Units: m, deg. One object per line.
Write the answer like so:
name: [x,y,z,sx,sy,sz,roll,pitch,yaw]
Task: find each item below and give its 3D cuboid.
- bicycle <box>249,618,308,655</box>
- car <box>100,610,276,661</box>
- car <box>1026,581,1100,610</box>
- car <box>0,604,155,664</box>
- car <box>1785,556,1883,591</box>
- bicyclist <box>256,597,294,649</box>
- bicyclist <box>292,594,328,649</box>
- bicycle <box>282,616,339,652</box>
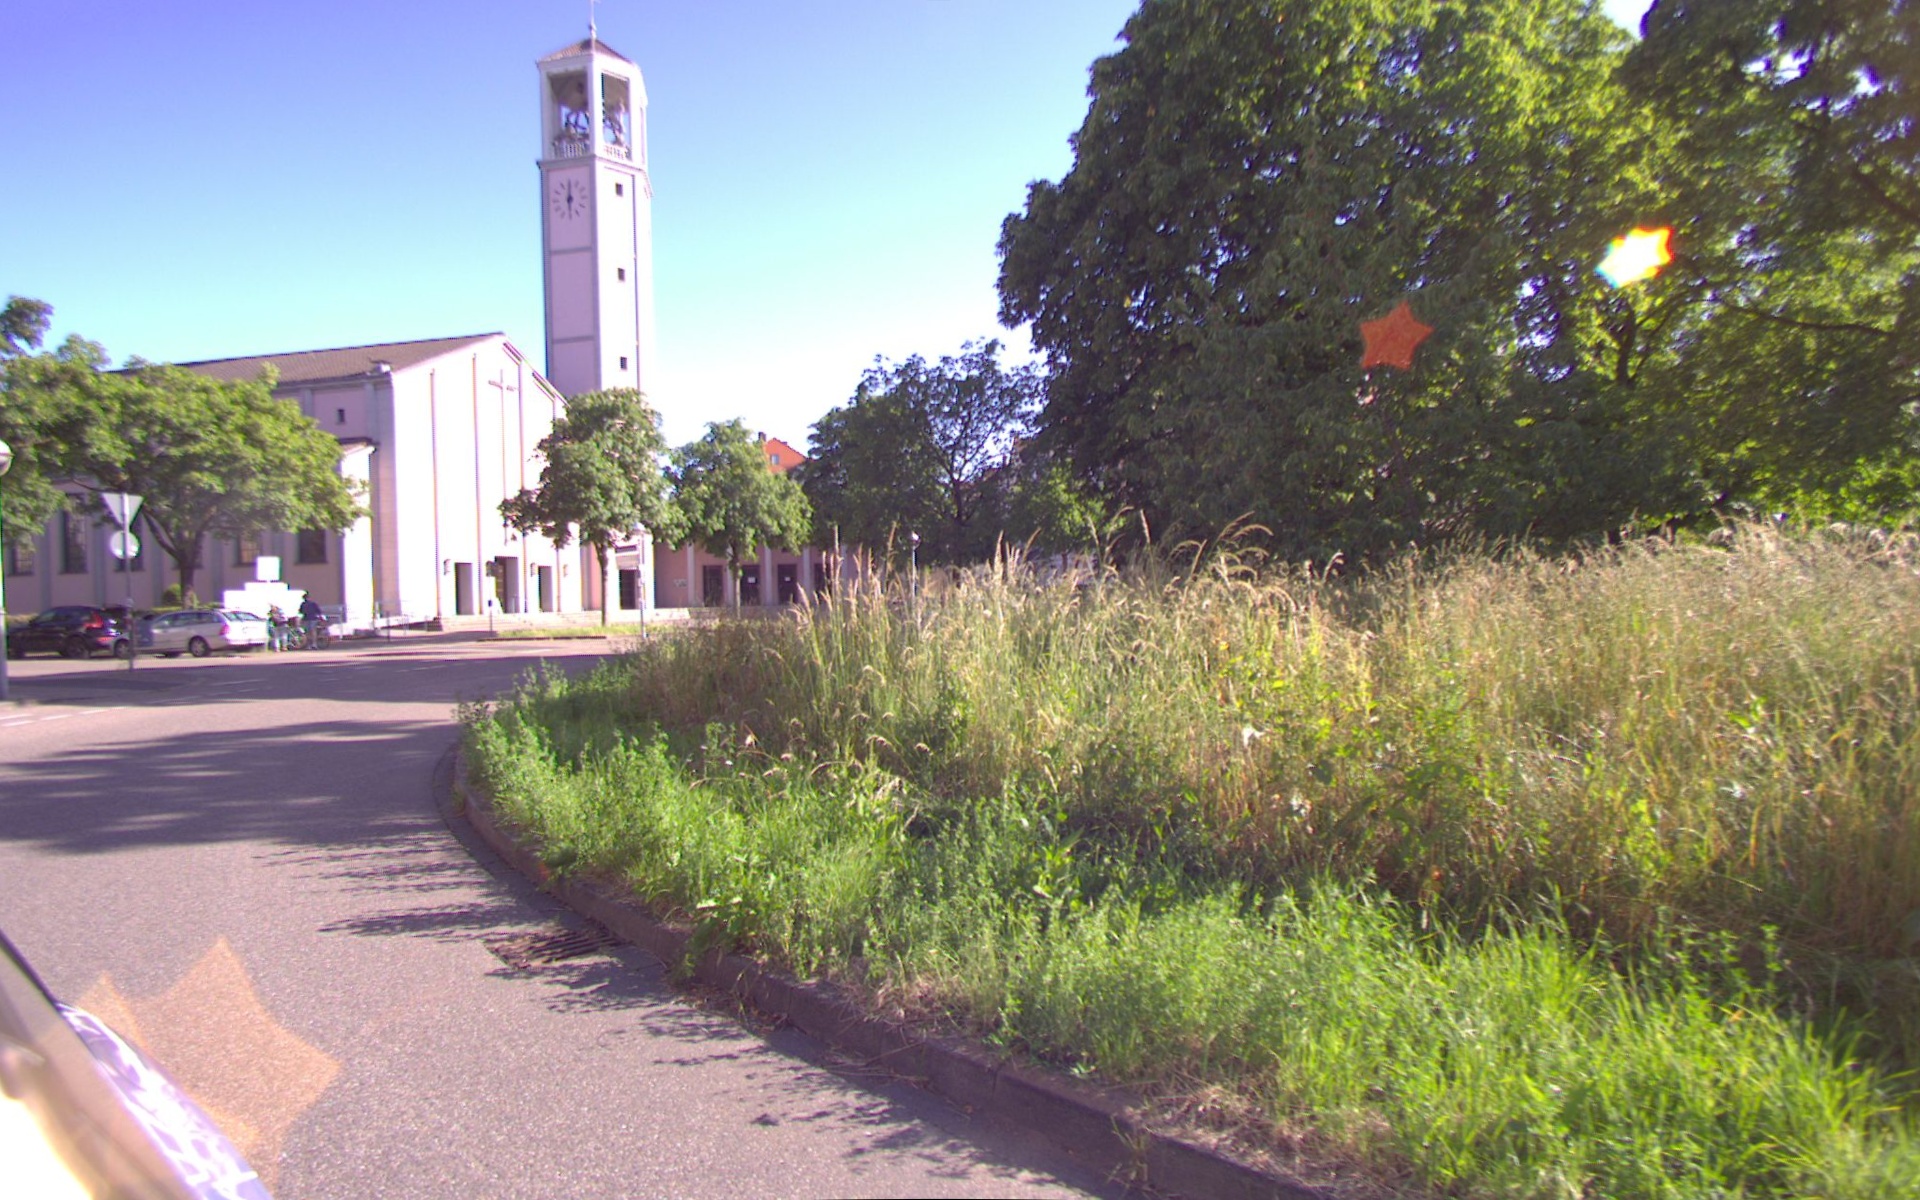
bicycle: [-21.344,1.150,31.706,1.851,1.116,0.591,-1,1,23]
car: [-23.271,1.061,30.566,4.289,1.426,1.805,-1,-1,9]
car: [5.633,-0.245,55.241,3.670,1.446,1.657,-1,0,22]
car: [-28.089,1.069,31.933,4.289,1.741,1.805,-1,-1,9]
car: [55.542,-1.653,64.428,2.136,2.002,4.210,-1,-1,-13]
bicyclist: [-21.495,0.724,31.760,0.799,1.593,0.591,-1,1,22]
bicyclist: [-21.076,0.692,32.832,0.717,1.727,0.642,-1,1,20]
bicycle: [-21.078,1.116,32.843,1.704,1.116,0.642,-1,1,20]
